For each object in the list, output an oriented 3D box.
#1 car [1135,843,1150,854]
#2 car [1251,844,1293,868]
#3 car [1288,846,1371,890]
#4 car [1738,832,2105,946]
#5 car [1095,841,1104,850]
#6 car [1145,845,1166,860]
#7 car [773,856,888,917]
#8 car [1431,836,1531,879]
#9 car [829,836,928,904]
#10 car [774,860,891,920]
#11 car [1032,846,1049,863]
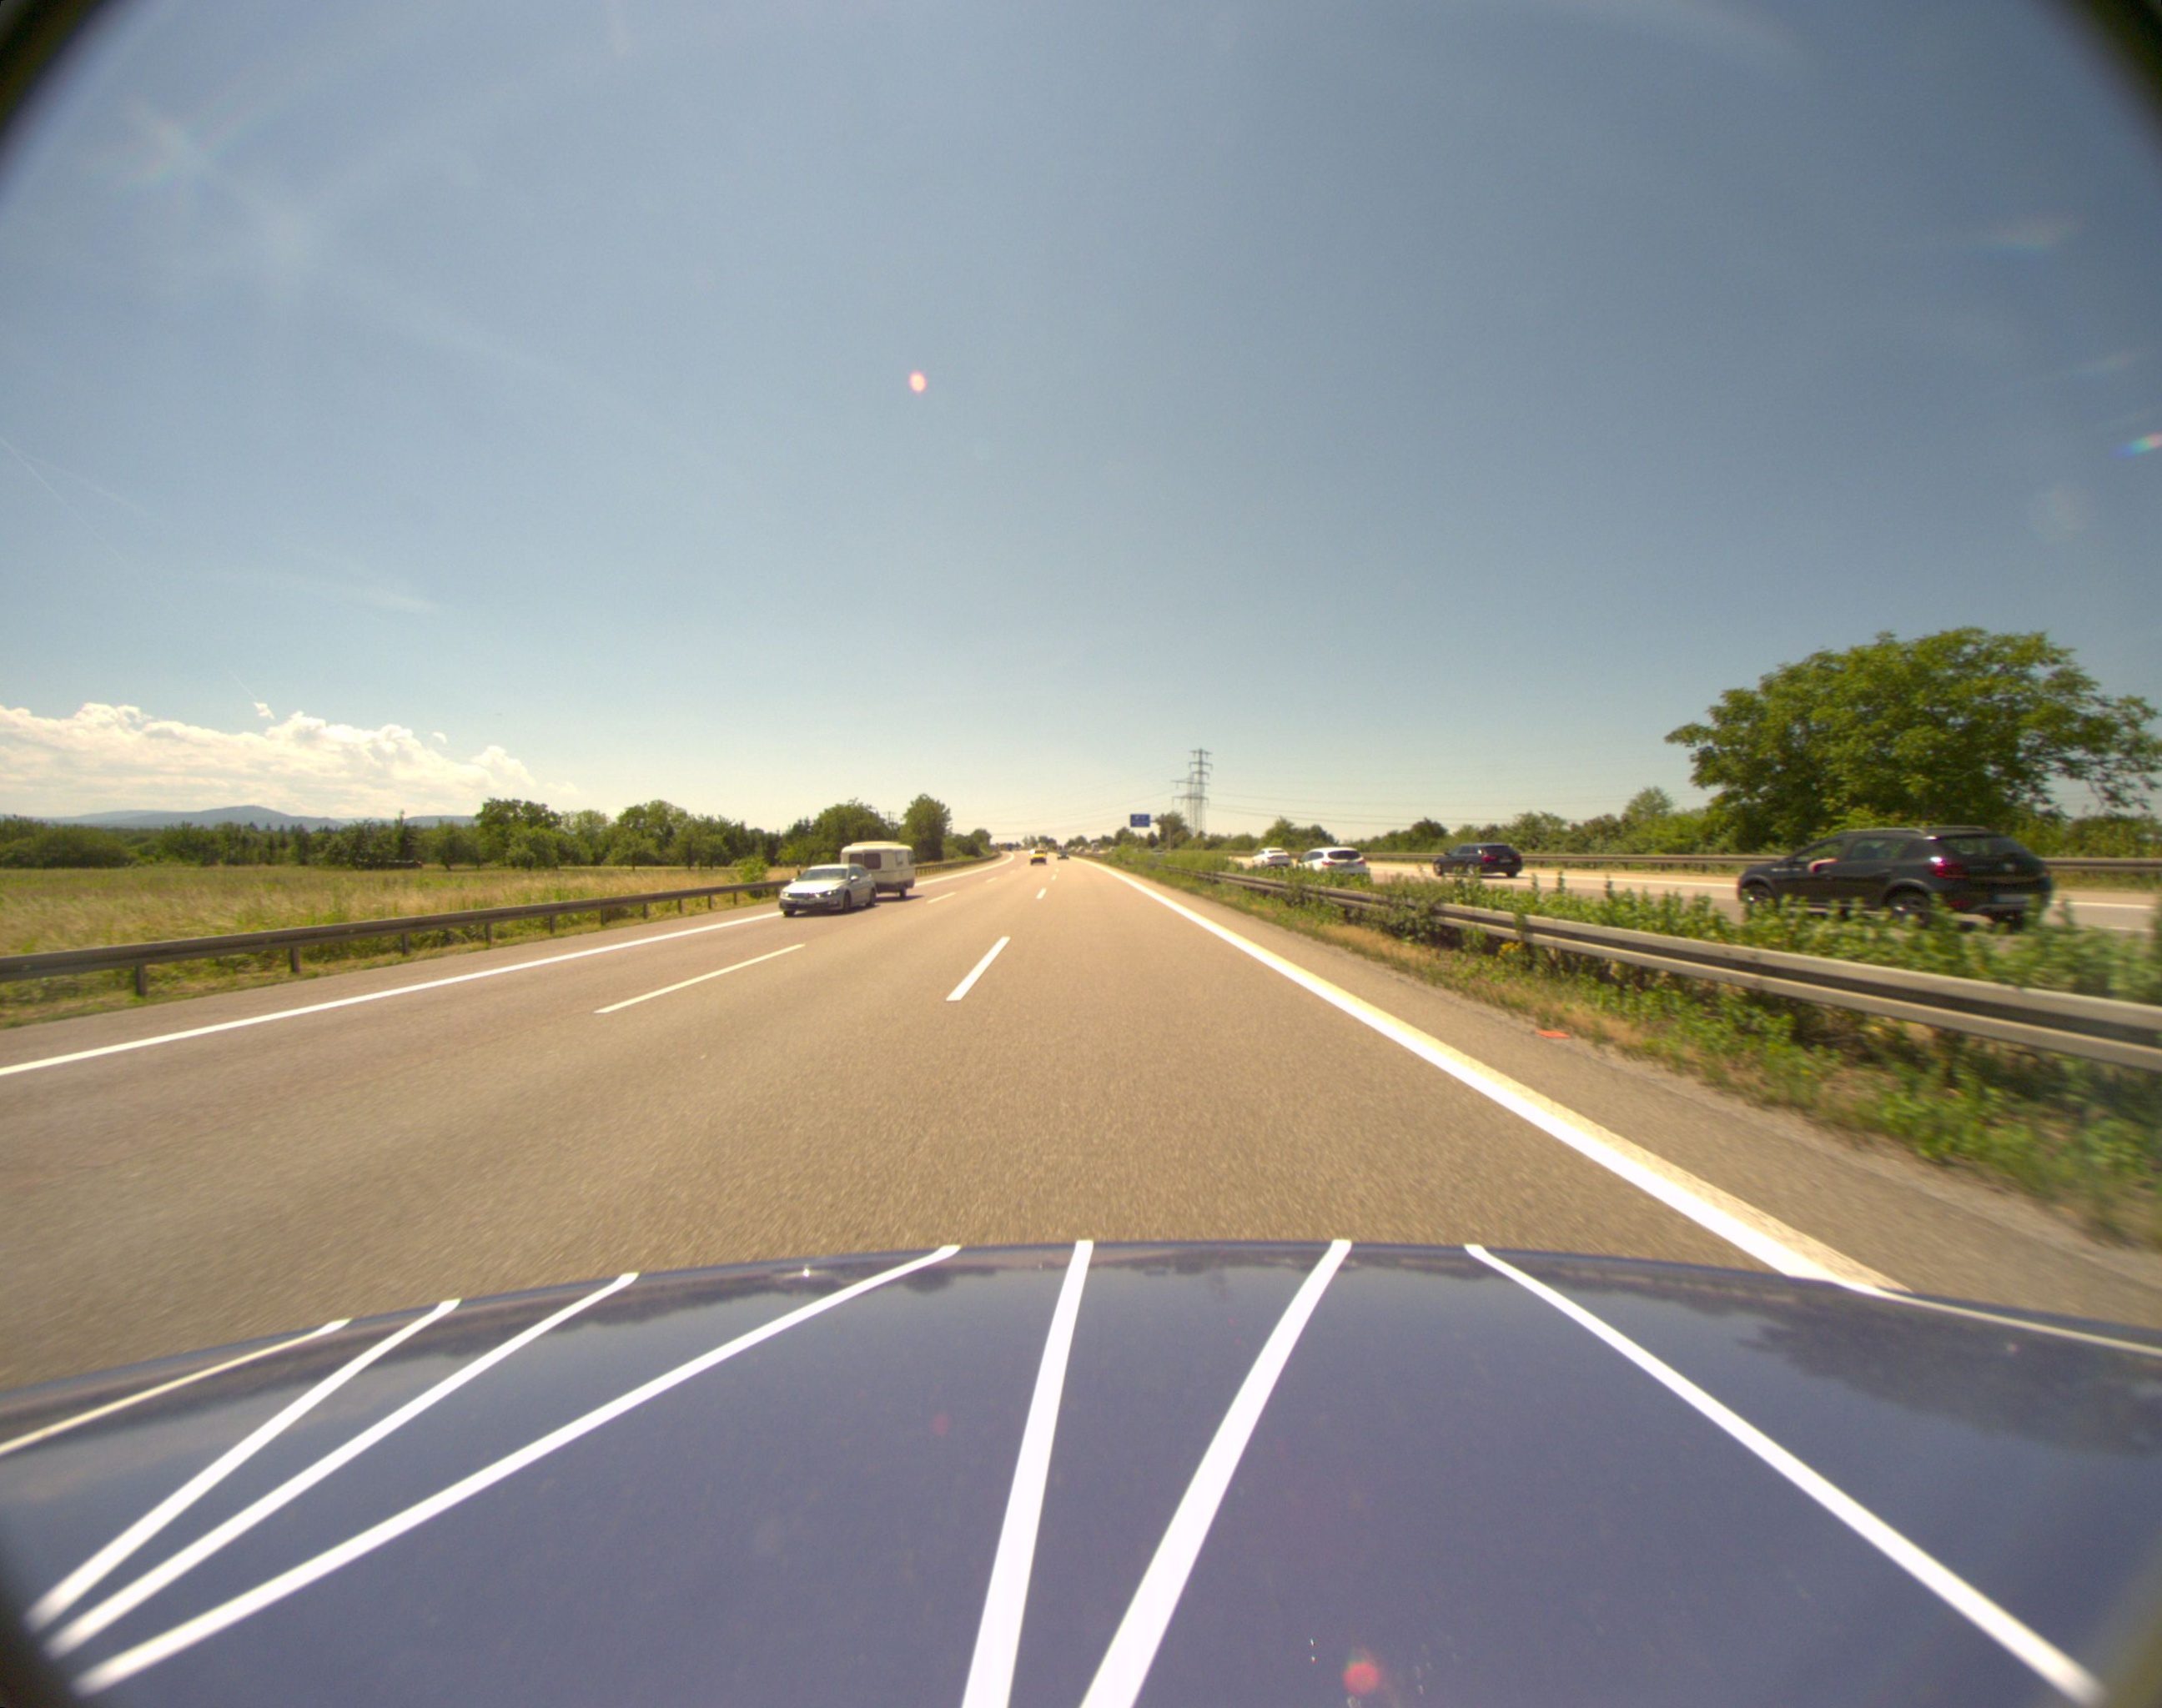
[{"bbox_3d":[10.550,-0.974,130.799,1.999,1.679,4.501,-2,1,-2],"label":"car"},{"bbox_3d":[13.223,0.115,52.862,1.706,1.551,4.377,-2,0,-2],"label":"car"},{"bbox_3d":[9.511,0.471,29.511,1.688,1.481,4.728,-2,1,0],"label":"car"},{"bbox_3d":[13.530,0.457,12.676,1.649,1.552,4.065,-2,1,1],"label":"car"},{"bbox_3d":[5.876,-2.792,240.717,1.999,2.670,7.178,-2,1,-6],"label":"car"},{"bbox_3d":[8.479,-0.225,86.590,1.815,1.552,4.403,-2,1,-2],"label":"car"},{"bbox_3d":[-7.619,0.932,23.757,2.050,1.648,5.508,-1,0,-3],"label":"car"},{"bbox_3d":[16.963,0.115,32.502,1.787,1.652,4.656,-1,1,-1],"label":"car"},{"bbox_3d":[-7.686,0.582,29.524,2.449,2.308,5.321,-3,0,-2],"label":"car"},{"bbox_3d":[-7.580,1.017,23.828,1.892,1.506,5.378,-3,0,-1],"label":"car"},{"bbox_3d":[-4.857,0.083,91.796,1.956,2.001,5.432,-1,0,-1],"label":"car"}]
